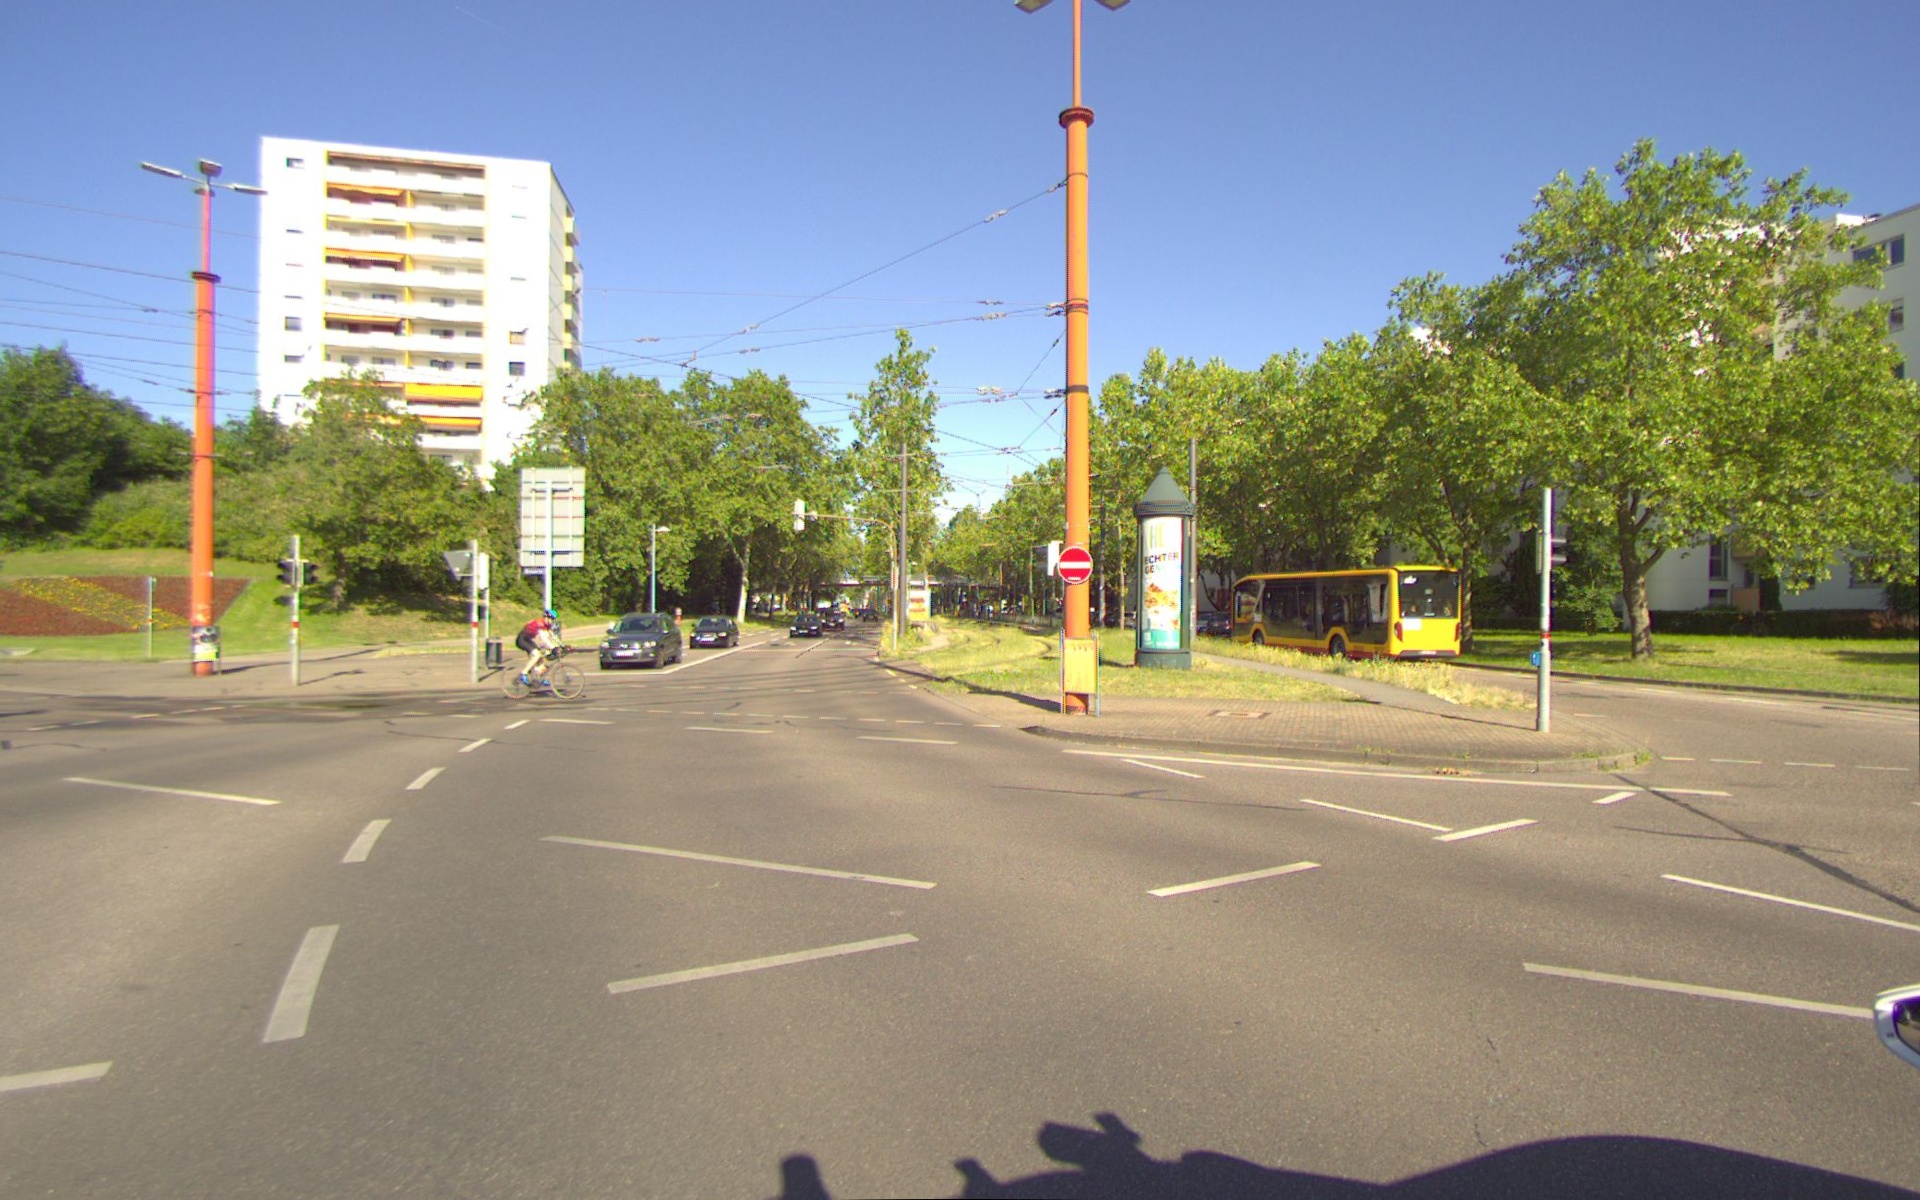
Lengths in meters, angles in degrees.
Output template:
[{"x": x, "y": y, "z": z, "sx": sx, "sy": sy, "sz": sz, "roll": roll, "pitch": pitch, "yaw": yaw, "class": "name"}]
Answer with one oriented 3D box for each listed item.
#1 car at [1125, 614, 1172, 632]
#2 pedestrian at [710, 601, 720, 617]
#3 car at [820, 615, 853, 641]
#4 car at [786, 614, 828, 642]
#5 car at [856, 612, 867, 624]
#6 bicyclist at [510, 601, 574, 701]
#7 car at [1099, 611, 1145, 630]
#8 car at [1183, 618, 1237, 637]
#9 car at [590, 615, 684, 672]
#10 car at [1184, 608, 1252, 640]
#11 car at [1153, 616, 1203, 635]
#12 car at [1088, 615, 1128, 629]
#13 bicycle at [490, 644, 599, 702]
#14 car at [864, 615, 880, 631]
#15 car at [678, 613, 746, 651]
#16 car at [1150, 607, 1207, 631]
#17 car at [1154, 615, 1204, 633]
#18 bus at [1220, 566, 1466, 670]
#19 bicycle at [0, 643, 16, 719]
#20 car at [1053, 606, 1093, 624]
[{"x": 15.565, "y": 1.886, "z": 83.015, "sx": 3.682, "sy": 1.349, "sz": 1.488, "roll": 1, "pitch": 1, "yaw": 44, "class": "car"}, {"x": -24.590, "y": 0.904, "z": 100.749, "sx": 0.673, "sy": 1.576, "sz": 0.992, "roll": 0, "pitch": -3, "yaw": 4, "class": "pedestrian"}, {"x": -9.447, "y": 2.103, "z": 77.002, "sx": 1.821, "sy": 1.825, "sz": 4.001, "roll": 1, "pitch": 1, "yaw": 4, "class": "car"}, {"x": -9.335, "y": 1.682, "z": 61.688, "sx": 1.880, "sy": 1.516, "sz": 4.000, "roll": 1, "pitch": 1, "yaw": 1, "class": "car"}, {"x": -16.518, "y": 3.029, "z": 168.043, "sx": 1.824, "sy": 1.825, "sz": 3.996, "roll": 0, "pitch": 1, "yaw": -6, "class": "car"}, {"x": -8.301, "y": 1.007, "z": 19.991, "sx": 0.971, "sy": 1.939, "sz": 0.687, "roll": 1, "pitch": 1, "yaw": 2, "class": "bicyclist"}, {"x": 14.149, "y": 1.788, "z": 87.618, "sx": 3.586, "sy": 1.480, "sz": 1.611, "roll": 1, "pitch": 1, "yaw": 33, "class": "car"}, {"x": 16.632, "y": 1.810, "z": 66.929, "sx": 3.289, "sy": 1.149, "sz": 1.317, "roll": 1, "pitch": 1, "yaw": 41, "class": "car"}, {"x": -9.972, "y": 1.302, "z": 31.318, "sx": 1.882, "sy": 1.516, "sz": 4.042, "roll": 0, "pitch": 1, "yaw": -4, "class": "car"}, {"x": 16.418, "y": 1.494, "z": 63.936, "sx": 3.880, "sy": 1.841, "sz": 1.648, "roll": 1, "pitch": 1, "yaw": 39, "class": "car"}, {"x": 15.261, "y": 1.752, "z": 70.367, "sx": 3.226, "sy": 1.173, "sz": 1.354, "roll": 1, "pitch": 1, "yaw": 40, "class": "car"}, {"x": 13.496, "y": 1.993, "z": 91.470, "sx": 3.357, "sy": 1.204, "sz": 1.444, "roll": 1, "pitch": 1, "yaw": 29, "class": "car"}, {"x": -8.271, "y": 1.445, "z": 20.030, "sx": 1.878, "sy": 1.086, "sz": 0.692, "roll": 1, "pitch": 1, "yaw": -1, "class": "bicycle"}, {"x": -10.733, "y": 2.793, "z": 121.832, "sx": 1.824, "sy": 1.825, "sz": 3.995, "roll": 0, "pitch": 1, "yaw": -7, "class": "car"}, {"x": -10.977, "y": 1.386, "z": 44.754, "sx": 1.880, "sy": 1.516, "sz": 4.000, "roll": 1, "pitch": 1, "yaw": 2, "class": "car"}, {"x": 16.410, "y": 1.398, "z": 75.510, "sx": 3.887, "sy": 1.614, "sz": 1.648, "roll": 1, "pitch": 1, "yaw": 44, "class": "car"}, {"x": 15.902, "y": 1.733, "z": 72.936, "sx": 3.351, "sy": 1.162, "sz": 1.302, "roll": 1, "pitch": 1, "yaw": 39, "class": "car"}, {"x": 13.902, "y": 0.505, "z": 38.377, "sx": 2.607, "sy": 3.305, "sz": 12.509, "roll": 0, "pitch": 1, "yaw": -11, "class": "bus"}, {"x": -14.732, "y": 1.211, "z": 14.511, "sx": 0.728, "sy": 1.146, "sz": 1.911, "roll": 0, "pitch": -2, "yaw": -14, "class": "bicycle"}, {"x": 13.165, "y": 1.756, "z": 116.855, "sx": 4.267, "sy": 2.010, "sz": 1.935, "roll": 0, "pitch": -1, "yaw": 33, "class": "car"}]
